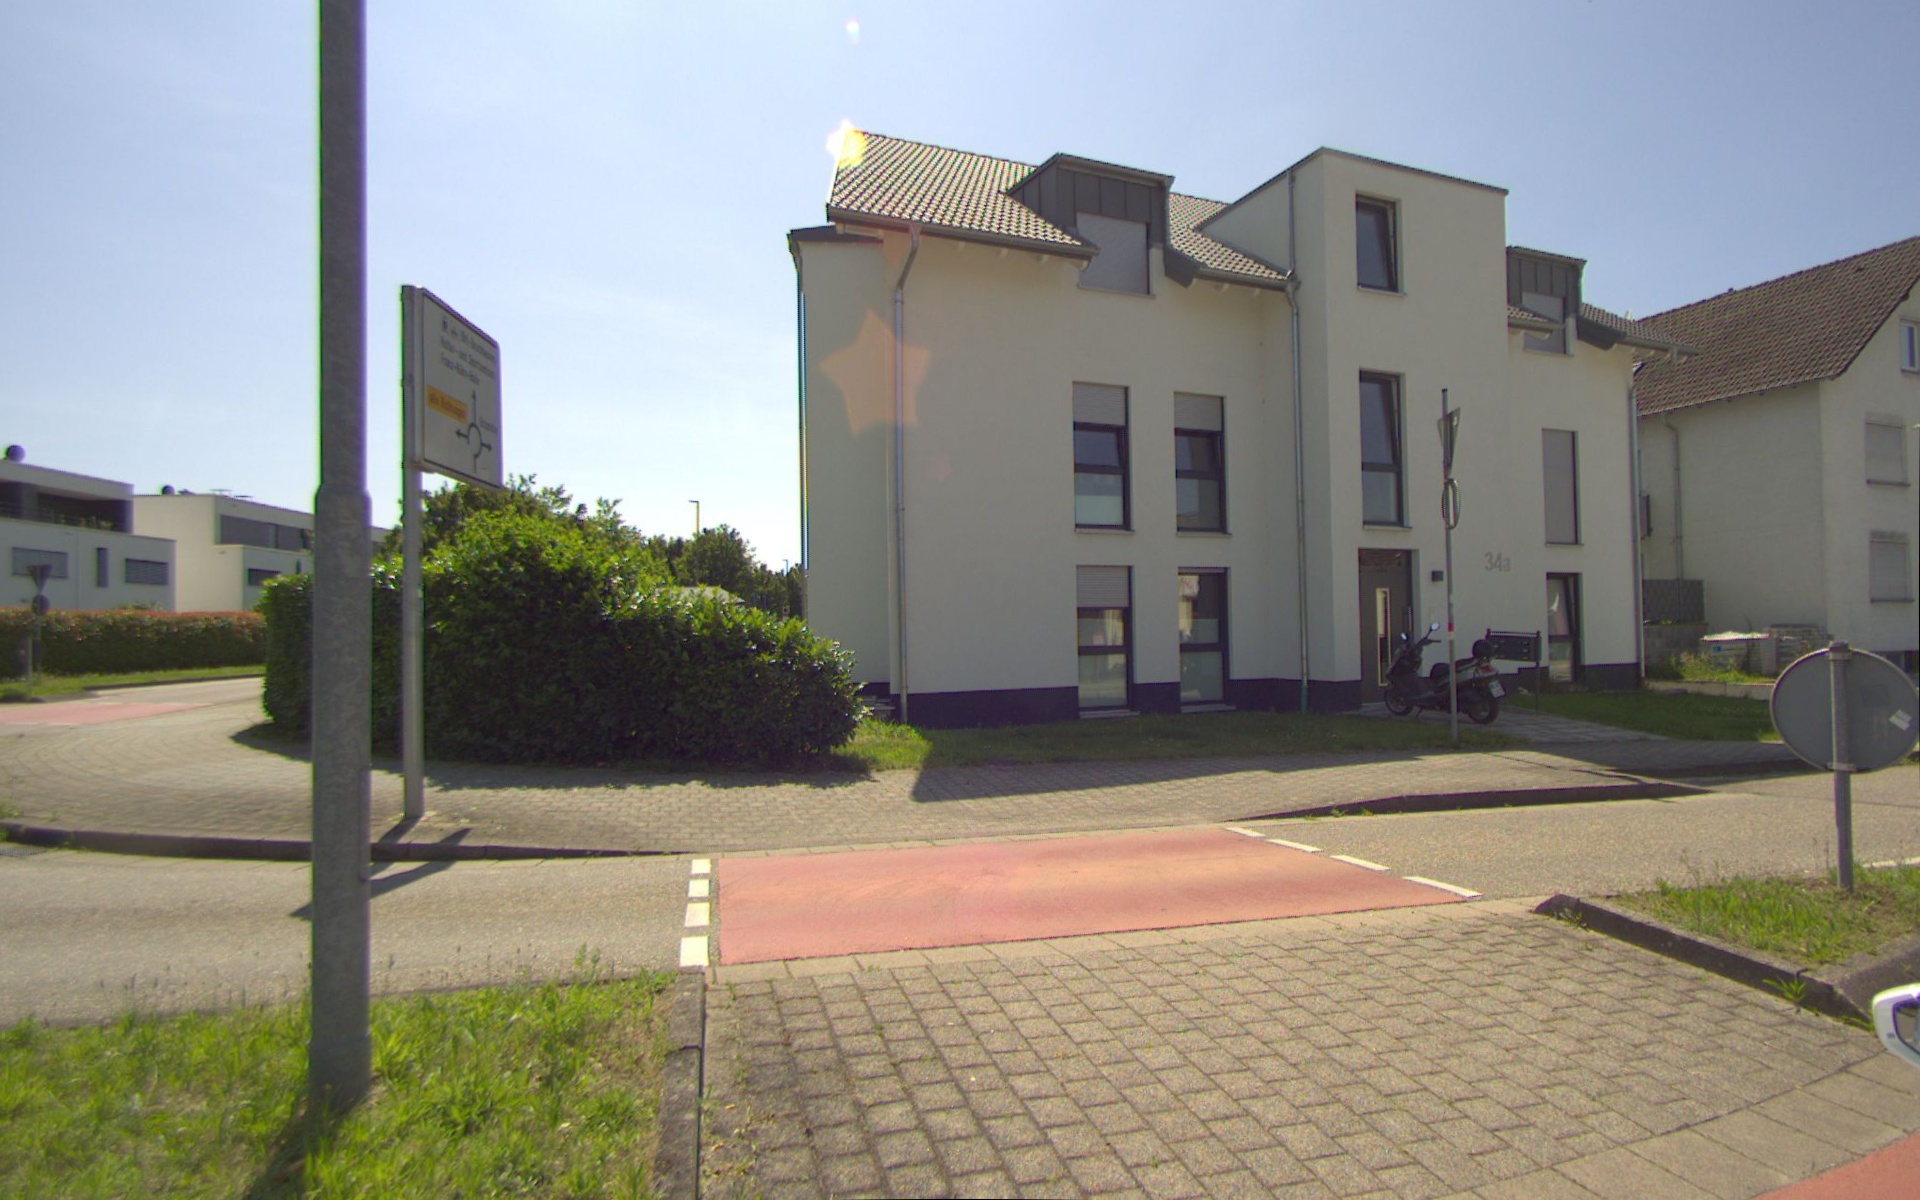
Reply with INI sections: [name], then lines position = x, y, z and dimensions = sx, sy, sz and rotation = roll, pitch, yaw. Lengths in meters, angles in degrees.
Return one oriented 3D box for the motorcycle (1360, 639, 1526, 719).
[motorcycle]
position = 6.792, 1.079, 14.292
dimensions = 0.661, 1.027, 2.358
rotation = 2, -2, -20
